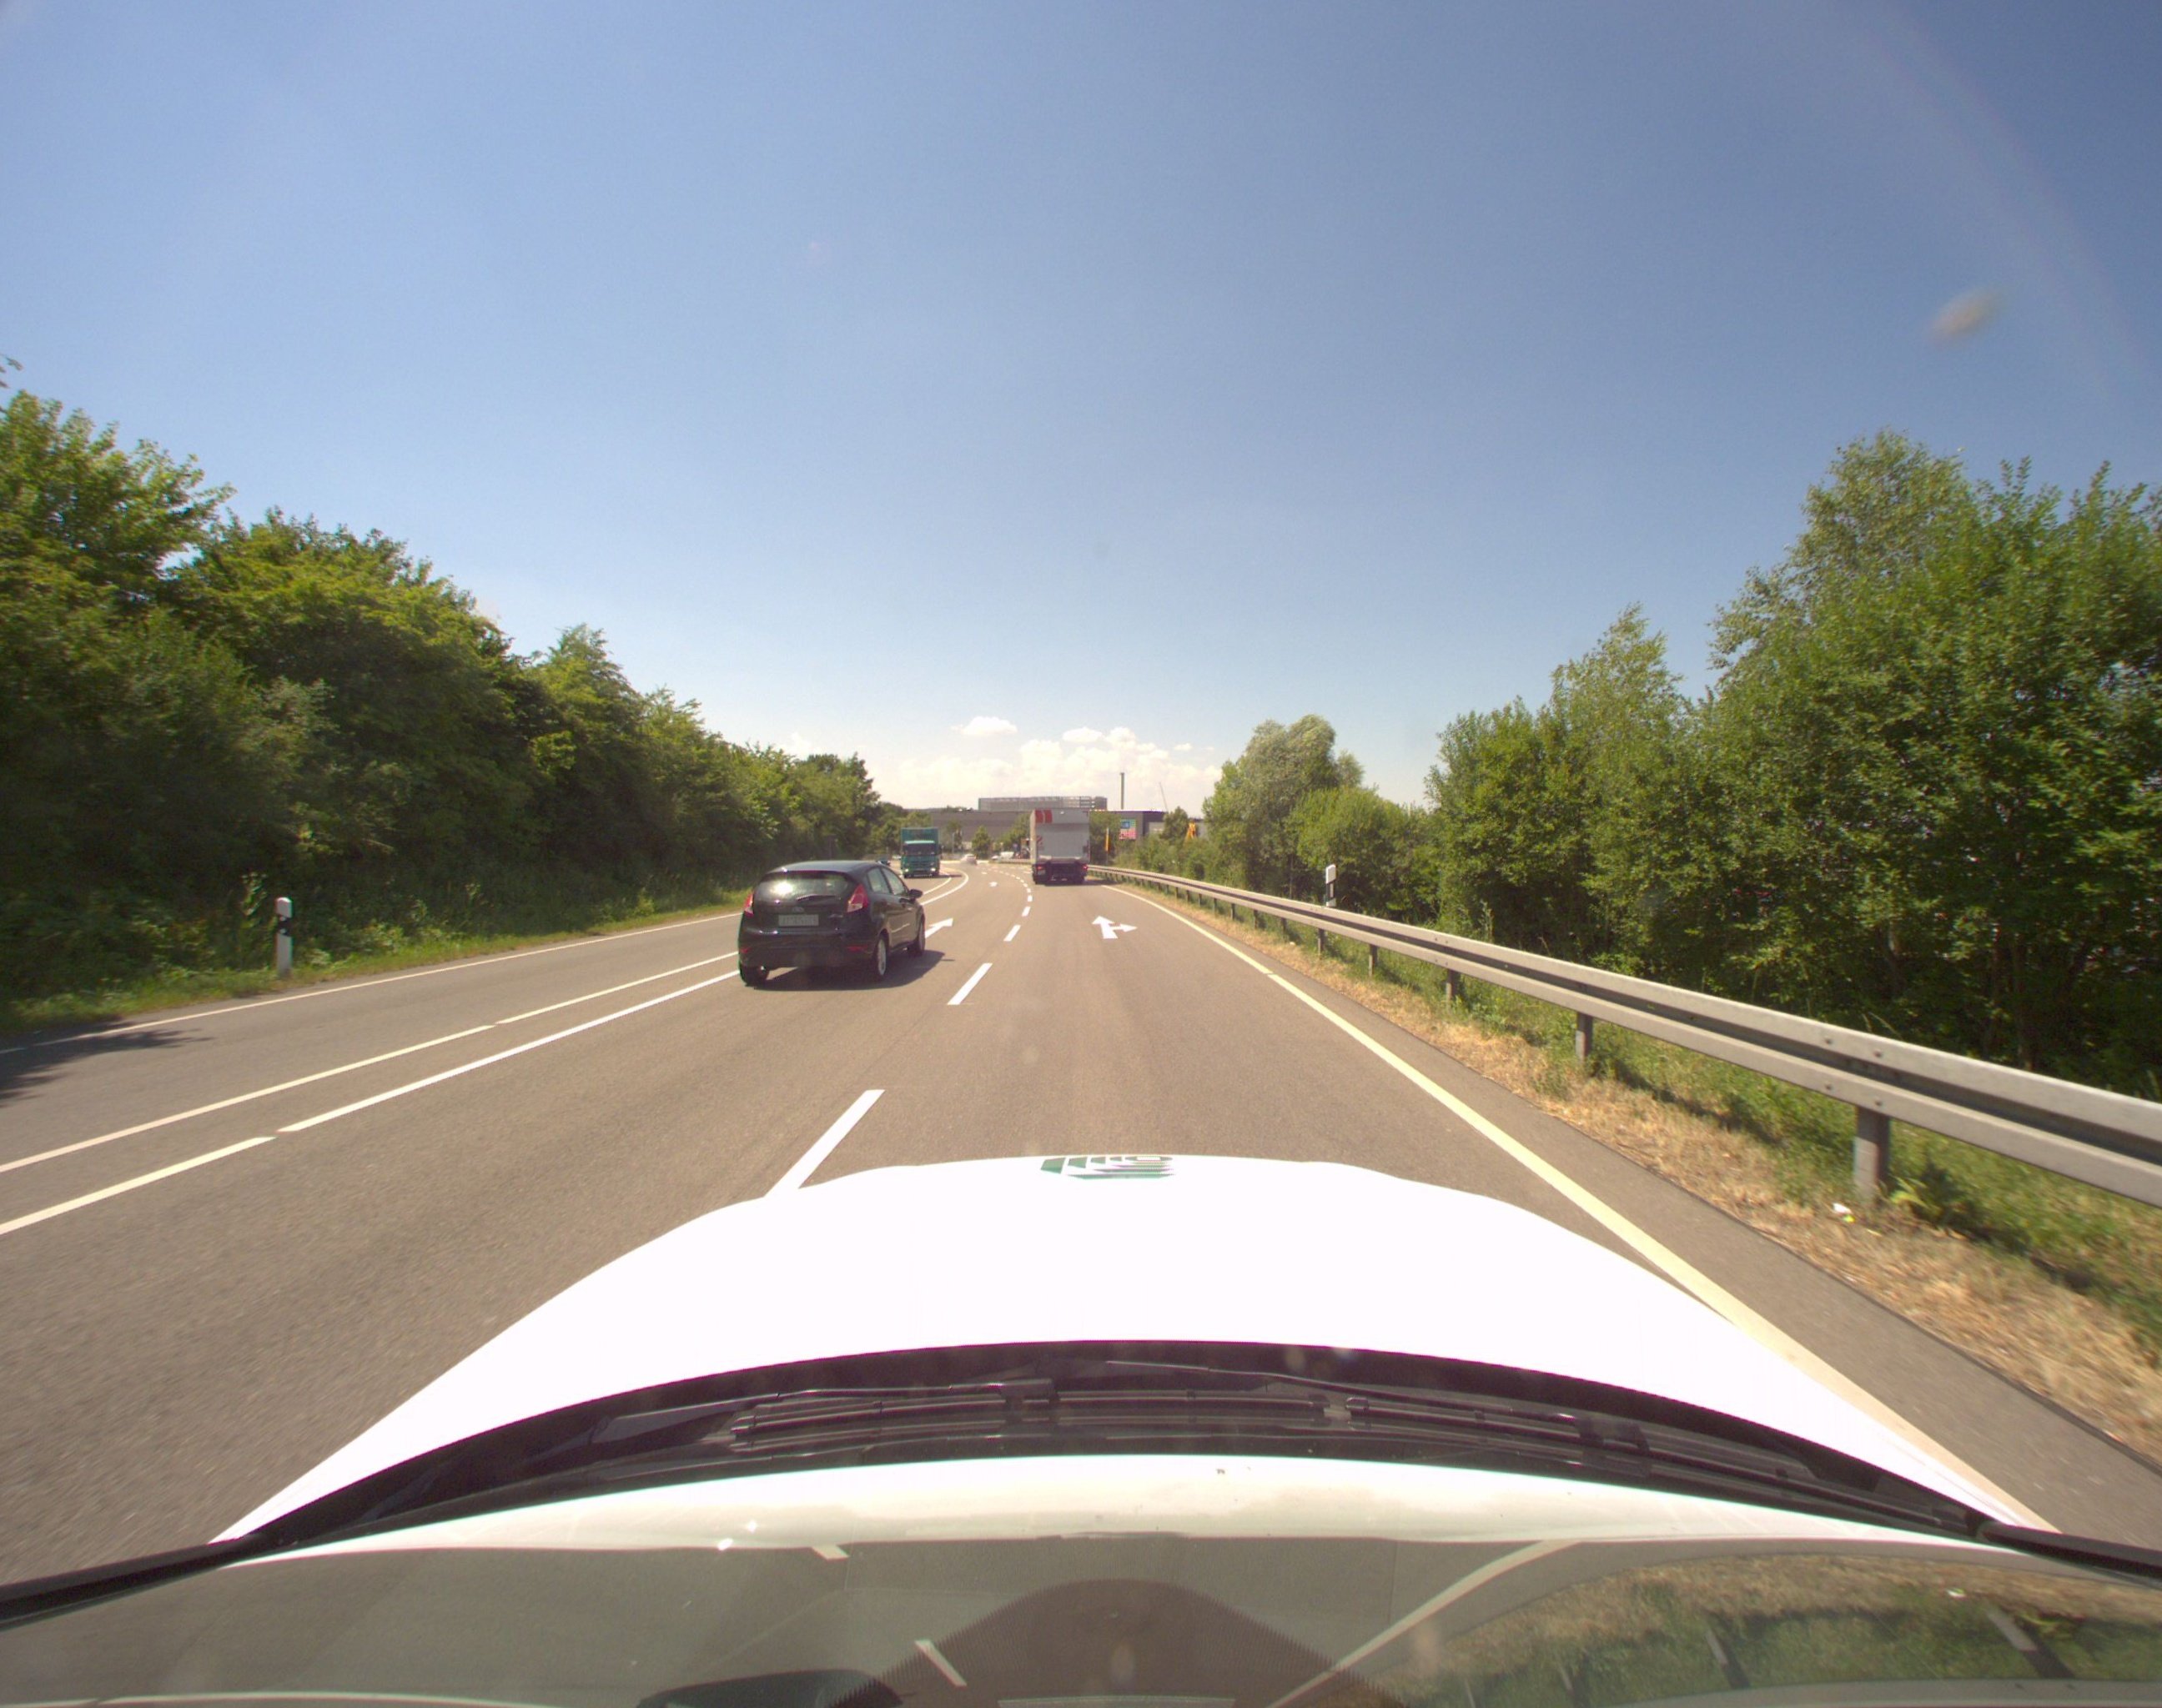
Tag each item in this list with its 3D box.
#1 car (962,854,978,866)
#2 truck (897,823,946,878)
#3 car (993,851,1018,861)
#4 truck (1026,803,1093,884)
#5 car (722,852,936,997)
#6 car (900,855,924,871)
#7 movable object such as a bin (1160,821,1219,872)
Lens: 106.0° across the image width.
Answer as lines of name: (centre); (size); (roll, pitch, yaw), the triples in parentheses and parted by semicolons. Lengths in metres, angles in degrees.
car: (-15.535, 0.798, 113.892); (1.945, 1.664, 3.984); (2, 0, -12)
truck: (-11.294, -0.272, 58.388); (2.867, 3.574, 9.403); (-1, 0, -8)
car: (-15.313, 0.423, 165.090); (4.722, 1.932, 2.157); (-1, 0, 5)
truck: (-1.281, -0.551, 41.693); (2.799, 3.710, 9.090); (0, 1, -5)
car: (-3.141, 0.764, 11.043); (1.648, 1.493, 4.206); (0, 1, -1)
car: (-15.865, 0.854, 76.717); (1.876, 1.442, 4.318); (-1, 0, -8)
movable object such as a bin: (12.026, -0.973, 91.241); (3.428, 5.260, 9.190); (1, 2, -13)
